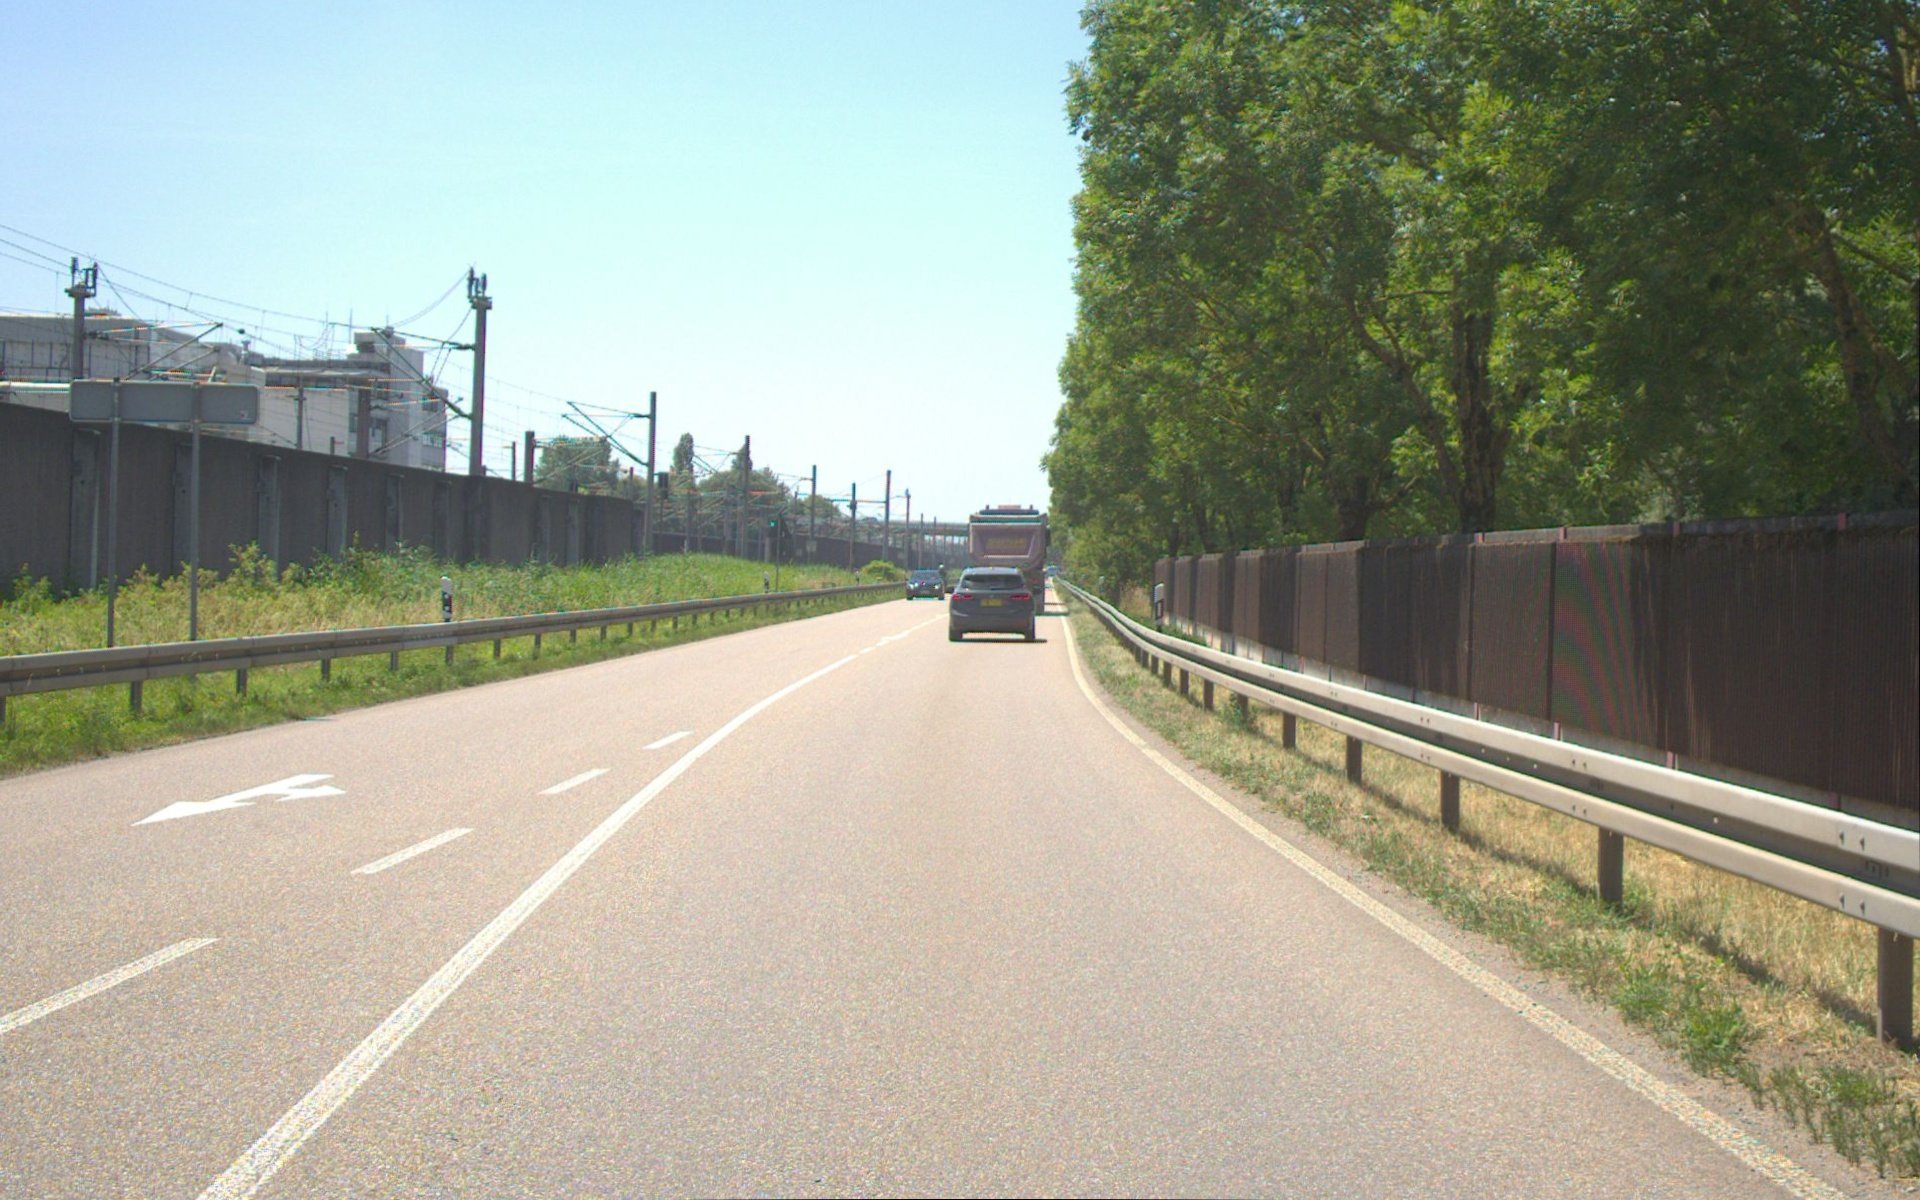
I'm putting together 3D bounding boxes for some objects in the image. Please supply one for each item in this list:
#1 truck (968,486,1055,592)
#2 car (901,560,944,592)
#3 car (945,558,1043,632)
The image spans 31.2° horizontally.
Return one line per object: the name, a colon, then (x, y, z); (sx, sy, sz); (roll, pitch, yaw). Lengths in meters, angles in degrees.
truck: (1.818, -2.047, 118.070); (2.770, 3.414, 10.819); (1, 0, 1)
car: (-1.816, -1.175, 167.891); (1.993, 1.503, 4.000); (1, 1, 1)
car: (0.694, -0.120, 73.019); (1.993, 1.503, 4.000); (1, 1, -1)
